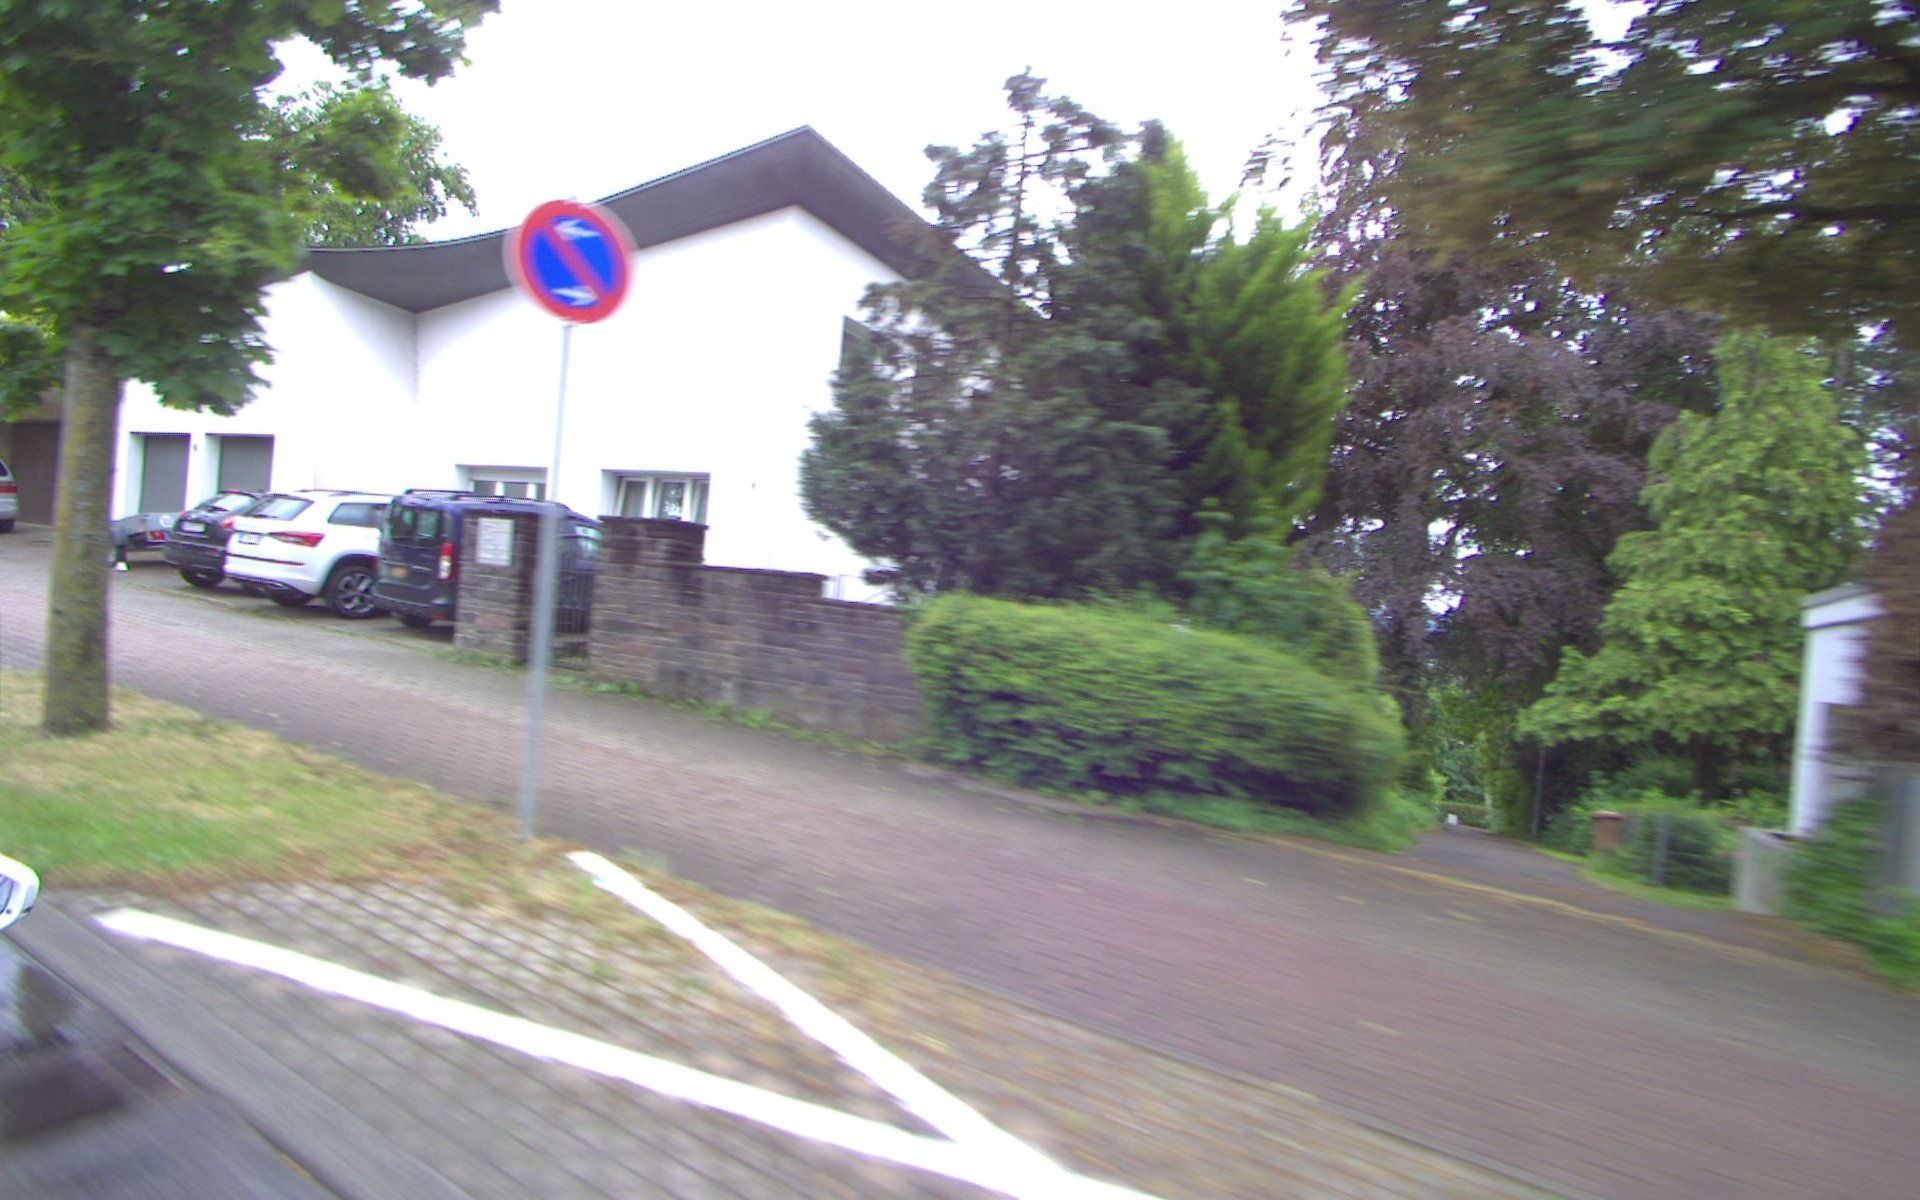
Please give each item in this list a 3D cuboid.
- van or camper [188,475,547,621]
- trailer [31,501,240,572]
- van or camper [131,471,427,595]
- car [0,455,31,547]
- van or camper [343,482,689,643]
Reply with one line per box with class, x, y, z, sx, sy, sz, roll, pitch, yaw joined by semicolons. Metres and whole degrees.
van or camper;-8.443;-0.703;14.700;2.086;1.701;3.988;7;4;28
trailer;-14.044;-1.124;17.145;3.216;0.935;1.419;6;7;23
van or camper;-10.549;-0.980;15.844;1.737;1.576;3.407;7;2;23
car;-21.317;-2.271;20.396;4.854;1.779;1.799;7;1;24
van or camper;-6.010;-0.491;14.071;1.915;1.813;4.013;7;4;31
